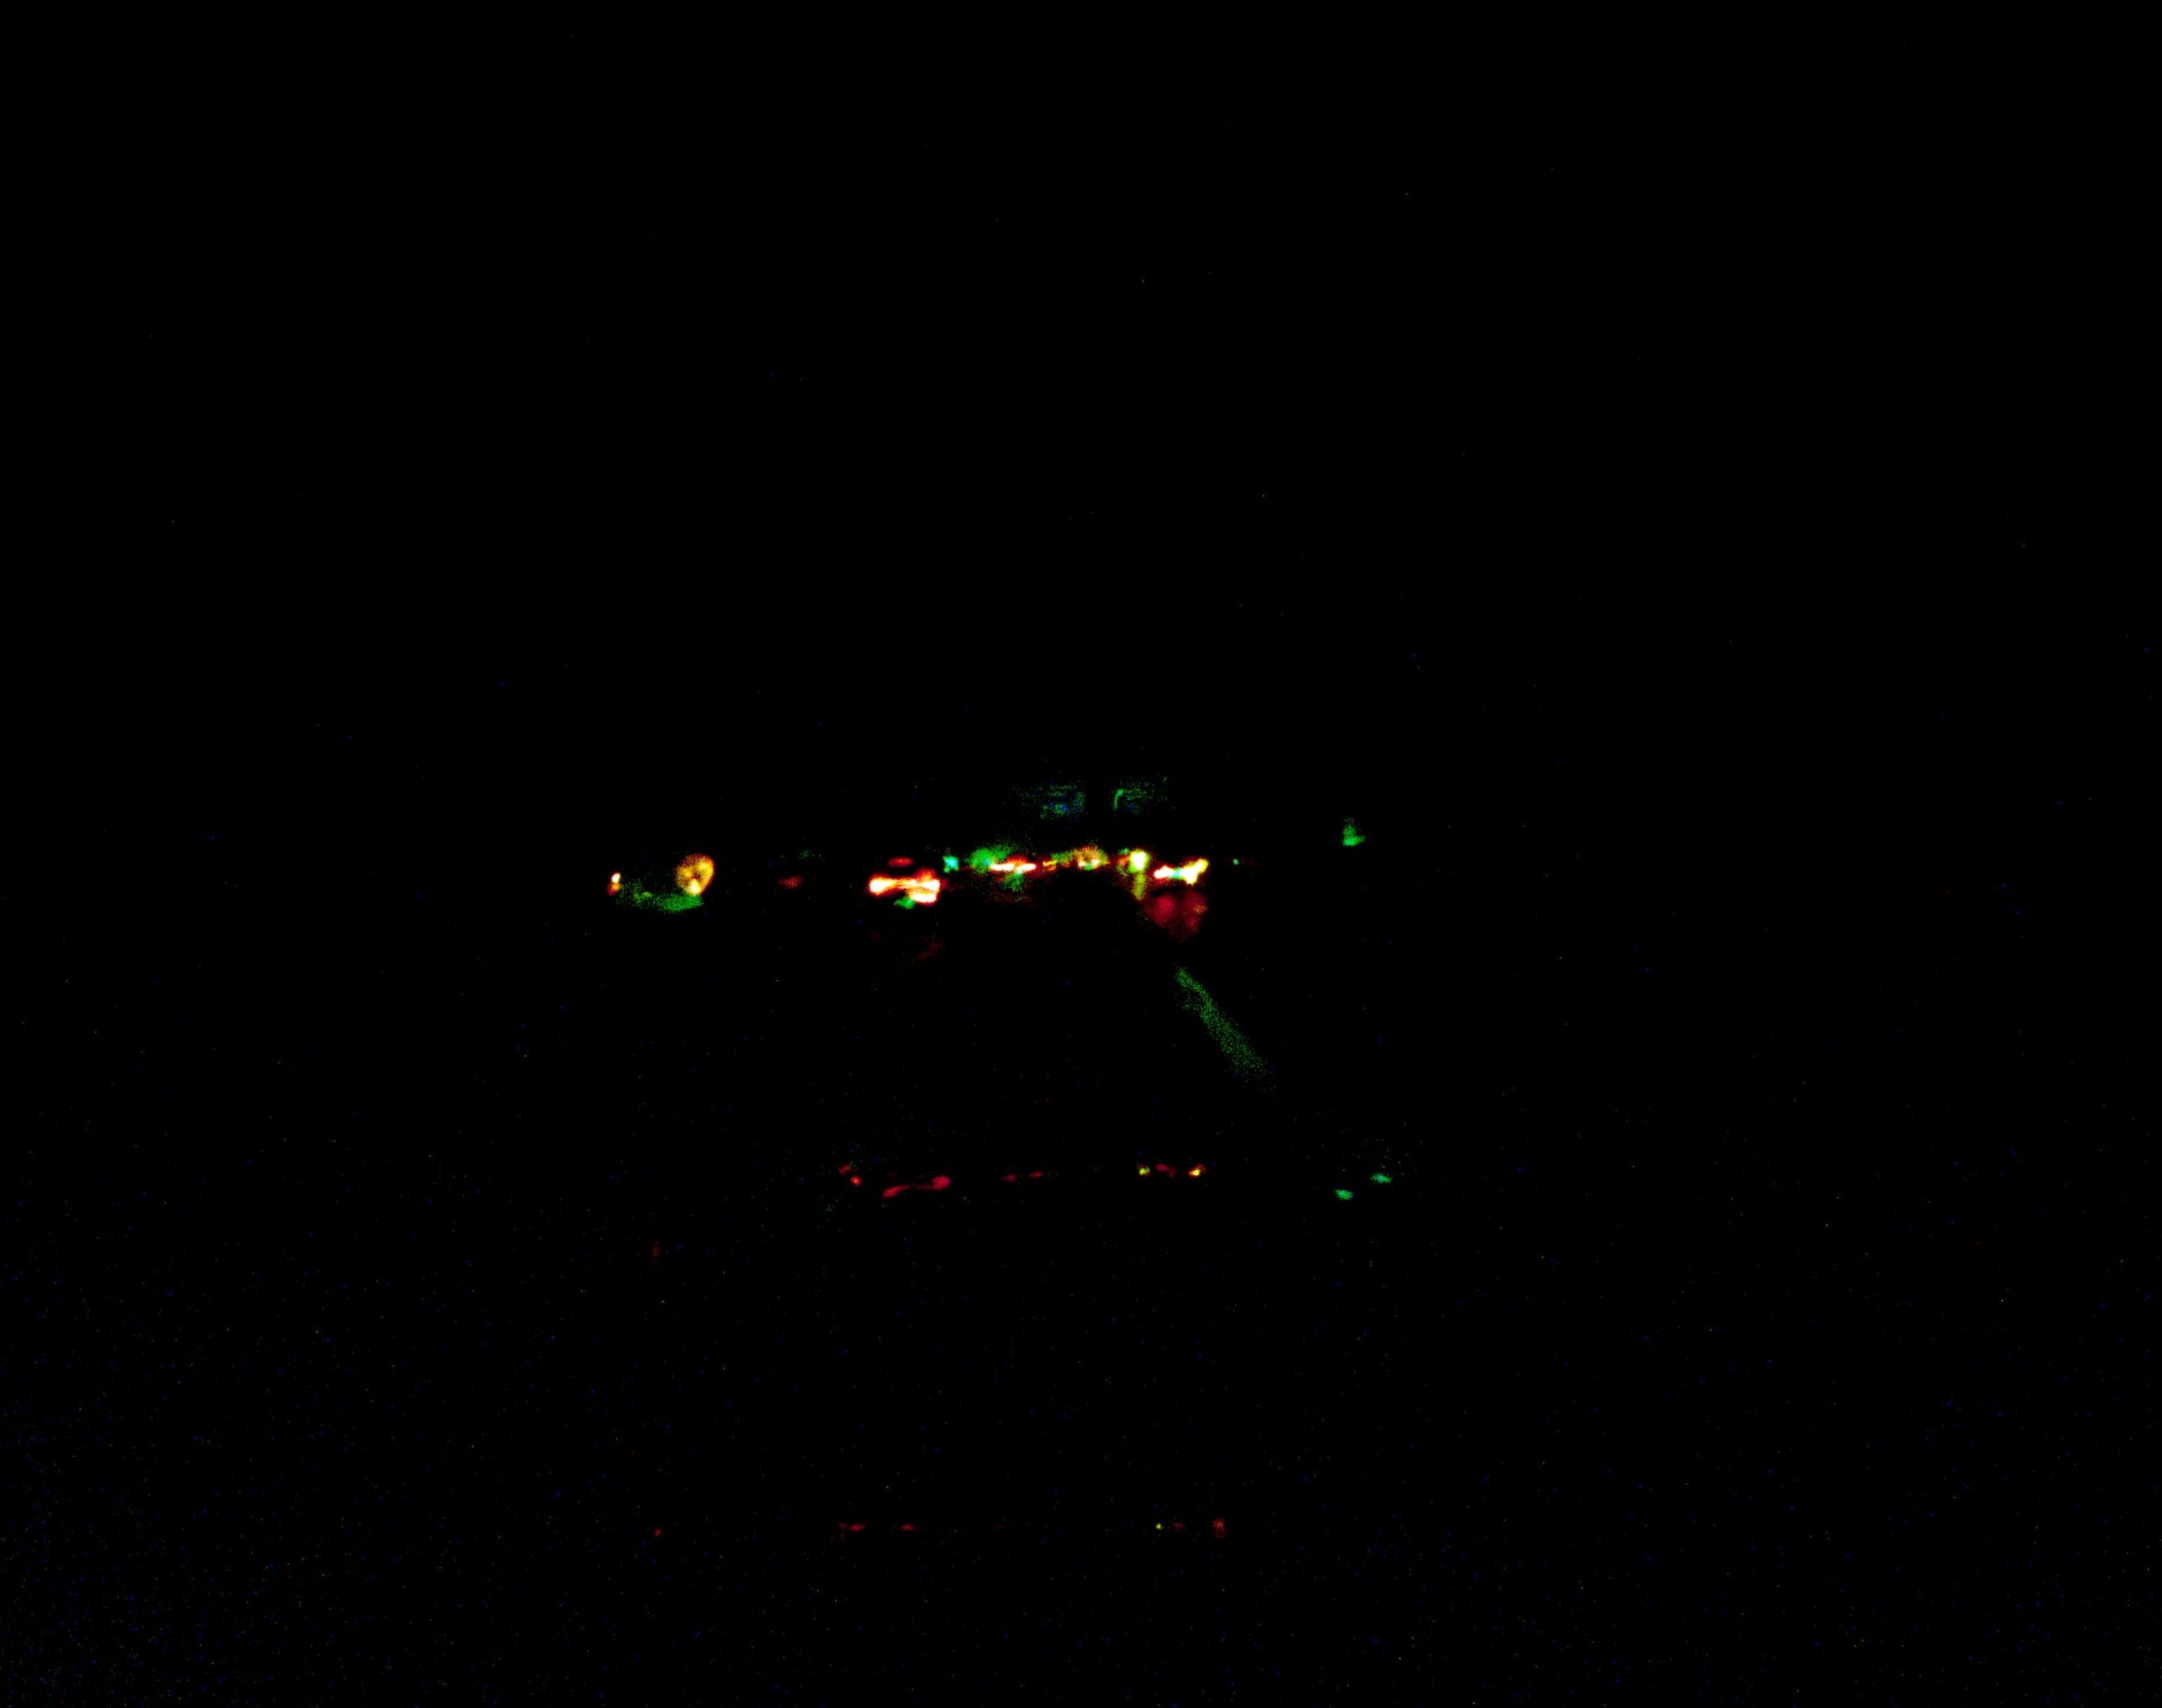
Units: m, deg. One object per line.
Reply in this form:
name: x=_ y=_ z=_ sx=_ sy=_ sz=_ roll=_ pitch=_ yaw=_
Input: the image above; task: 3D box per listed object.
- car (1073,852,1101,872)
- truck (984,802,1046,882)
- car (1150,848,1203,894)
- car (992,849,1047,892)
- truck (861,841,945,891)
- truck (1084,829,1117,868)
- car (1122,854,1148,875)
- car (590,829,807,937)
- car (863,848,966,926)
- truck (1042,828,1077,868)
car: x=0.643 y=0.857 z=85.974 sx=2.822 sy=2.014 sz=5.512 roll=0 pitch=0 yaw=2
truck: x=-4.152 y=-0.693 z=53.528 sx=3.648 sy=4.737 sz=9.841 roll=0 pitch=0 yaw=-3
car: x=3.857 y=0.663 z=33.463 sx=1.871 sy=1.762 sz=4.002 roll=0 pitch=0 yaw=2
car: x=-2.665 y=0.708 z=36.333 sx=2.031 sy=1.761 sz=4.516 roll=0 pitch=0 yaw=1
truck: x=-8.370 y=0.542 z=38.922 sx=2.849 sy=2.201 sz=5.855 roll=0 pitch=0 yaw=-2
truck: x=2.601 y=-0.725 z=114.184 sx=4.150 sy=5.215 sz=9.947 roll=0 pitch=0 yaw=-1
car: x=4.415 y=0.853 z=67.370 sx=1.986 sy=1.704 sz=4.459 roll=0 pitch=0 yaw=1
car: x=-8.481 y=0.573 z=18.844 sx=2.114 sy=2.104 sz=5.633 roll=-1 pitch=0 yaw=3
car: x=-3.964 y=0.715 z=20.033 sx=1.760 sy=1.689 sz=3.998 roll=-1 pitch=1 yaw=-1
truck: x=-2.974 y=-0.778 z=116.465 sx=4.237 sy=5.444 sz=10.892 roll=0 pitch=0 yaw=3
